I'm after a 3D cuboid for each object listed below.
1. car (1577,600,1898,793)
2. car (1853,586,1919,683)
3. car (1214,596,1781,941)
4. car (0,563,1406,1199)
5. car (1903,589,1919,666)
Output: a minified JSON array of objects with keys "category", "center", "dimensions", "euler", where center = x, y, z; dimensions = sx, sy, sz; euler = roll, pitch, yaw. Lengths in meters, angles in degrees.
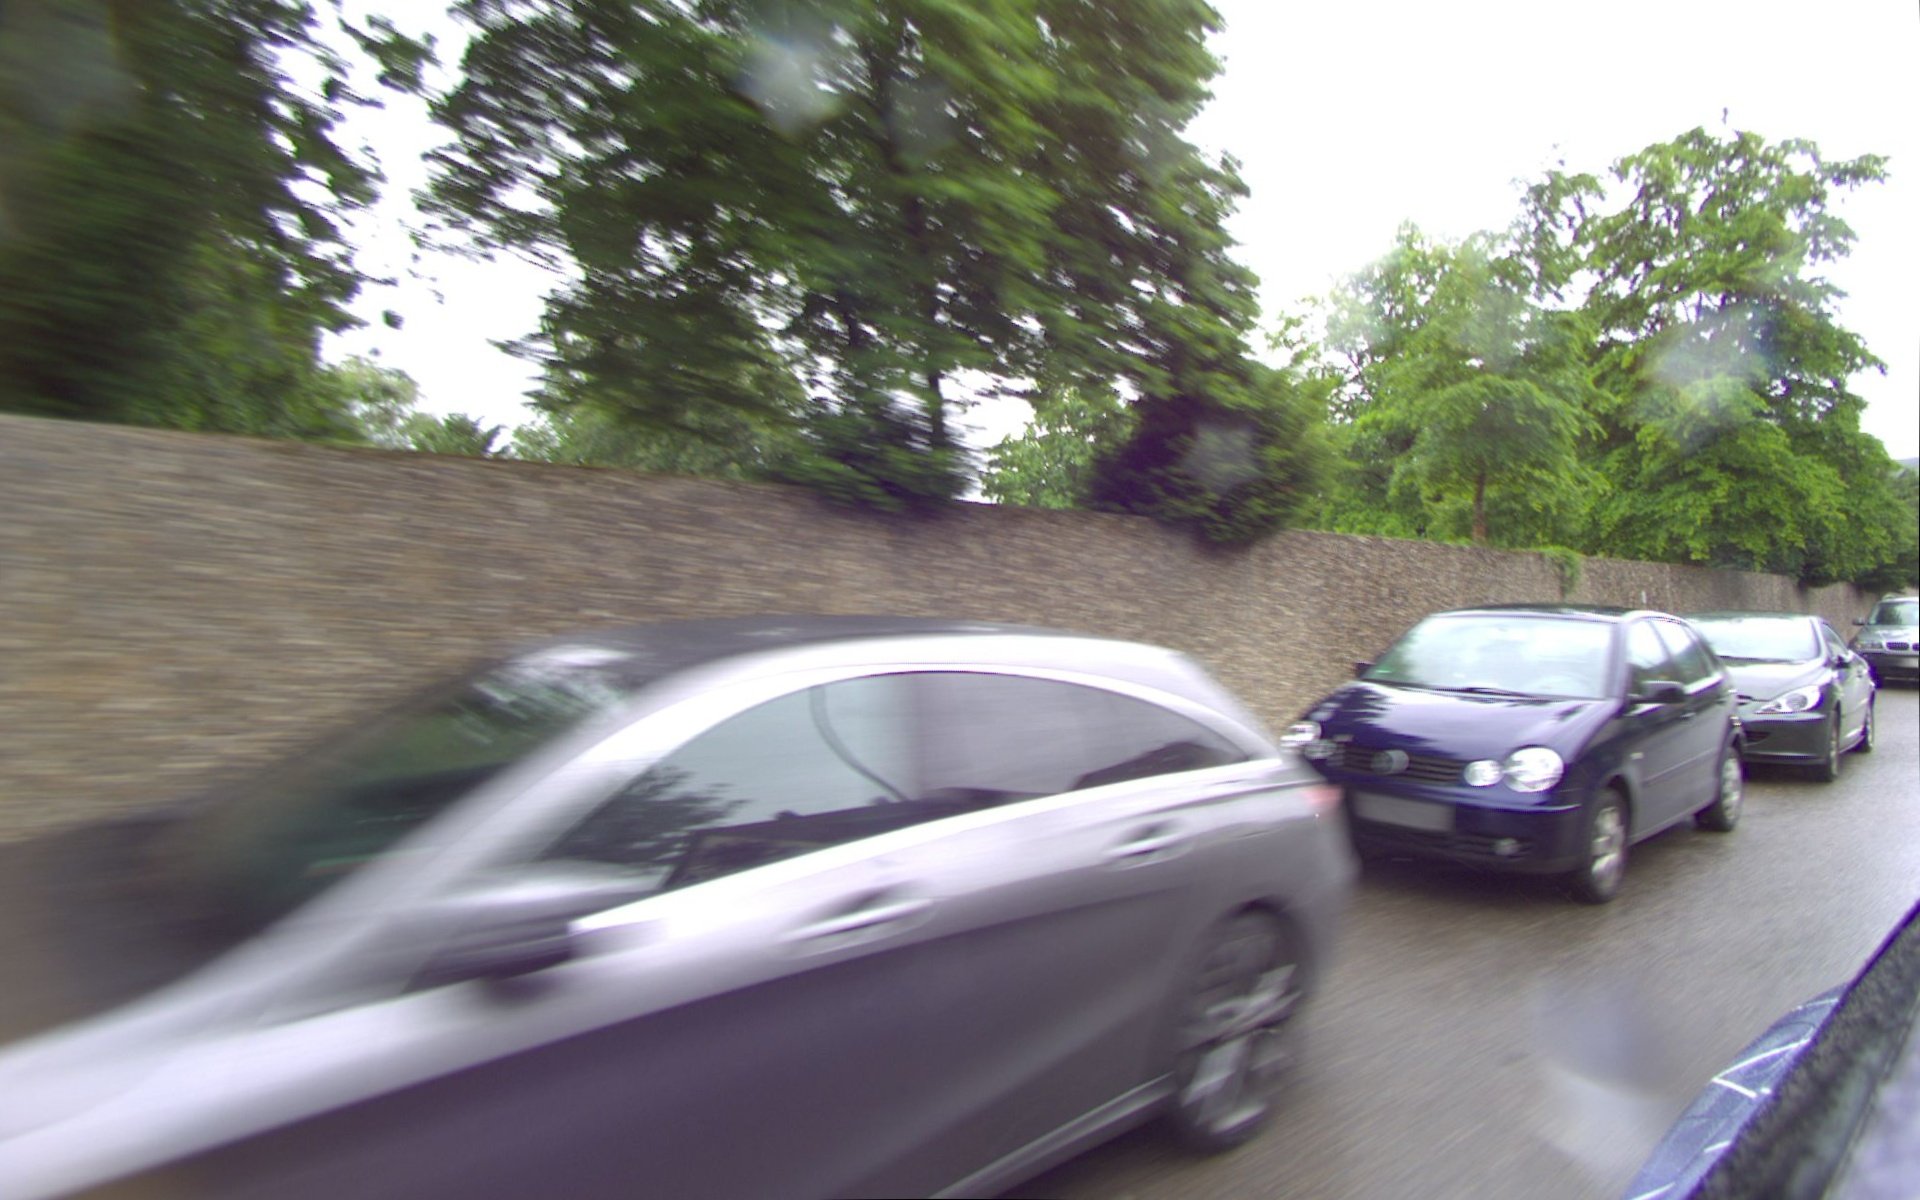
[{"category":"car","center":[7.519,0.723,9.636],"dimensions":[4.083,1.437,1.761],"euler":[0,0,-43]},{"category":"car","center":[17.946,0.588,18.607],"dimensions":[4.082,1.650,1.831],"euler":[0,0,-42]},{"category":"car","center":[3.509,0.701,6.255],"dimensions":[4.080,1.437,1.762],"euler":[0,0,-41]},{"category":"car","center":[-0.834,0.672,2.614],"dimensions":[4.406,1.437,1.997],"euler":[0,0,-42]},{"category":"car","center":[22.669,0.593,22.616],"dimensions":[4.079,1.650,1.833],"euler":[0,0,-40]}]
